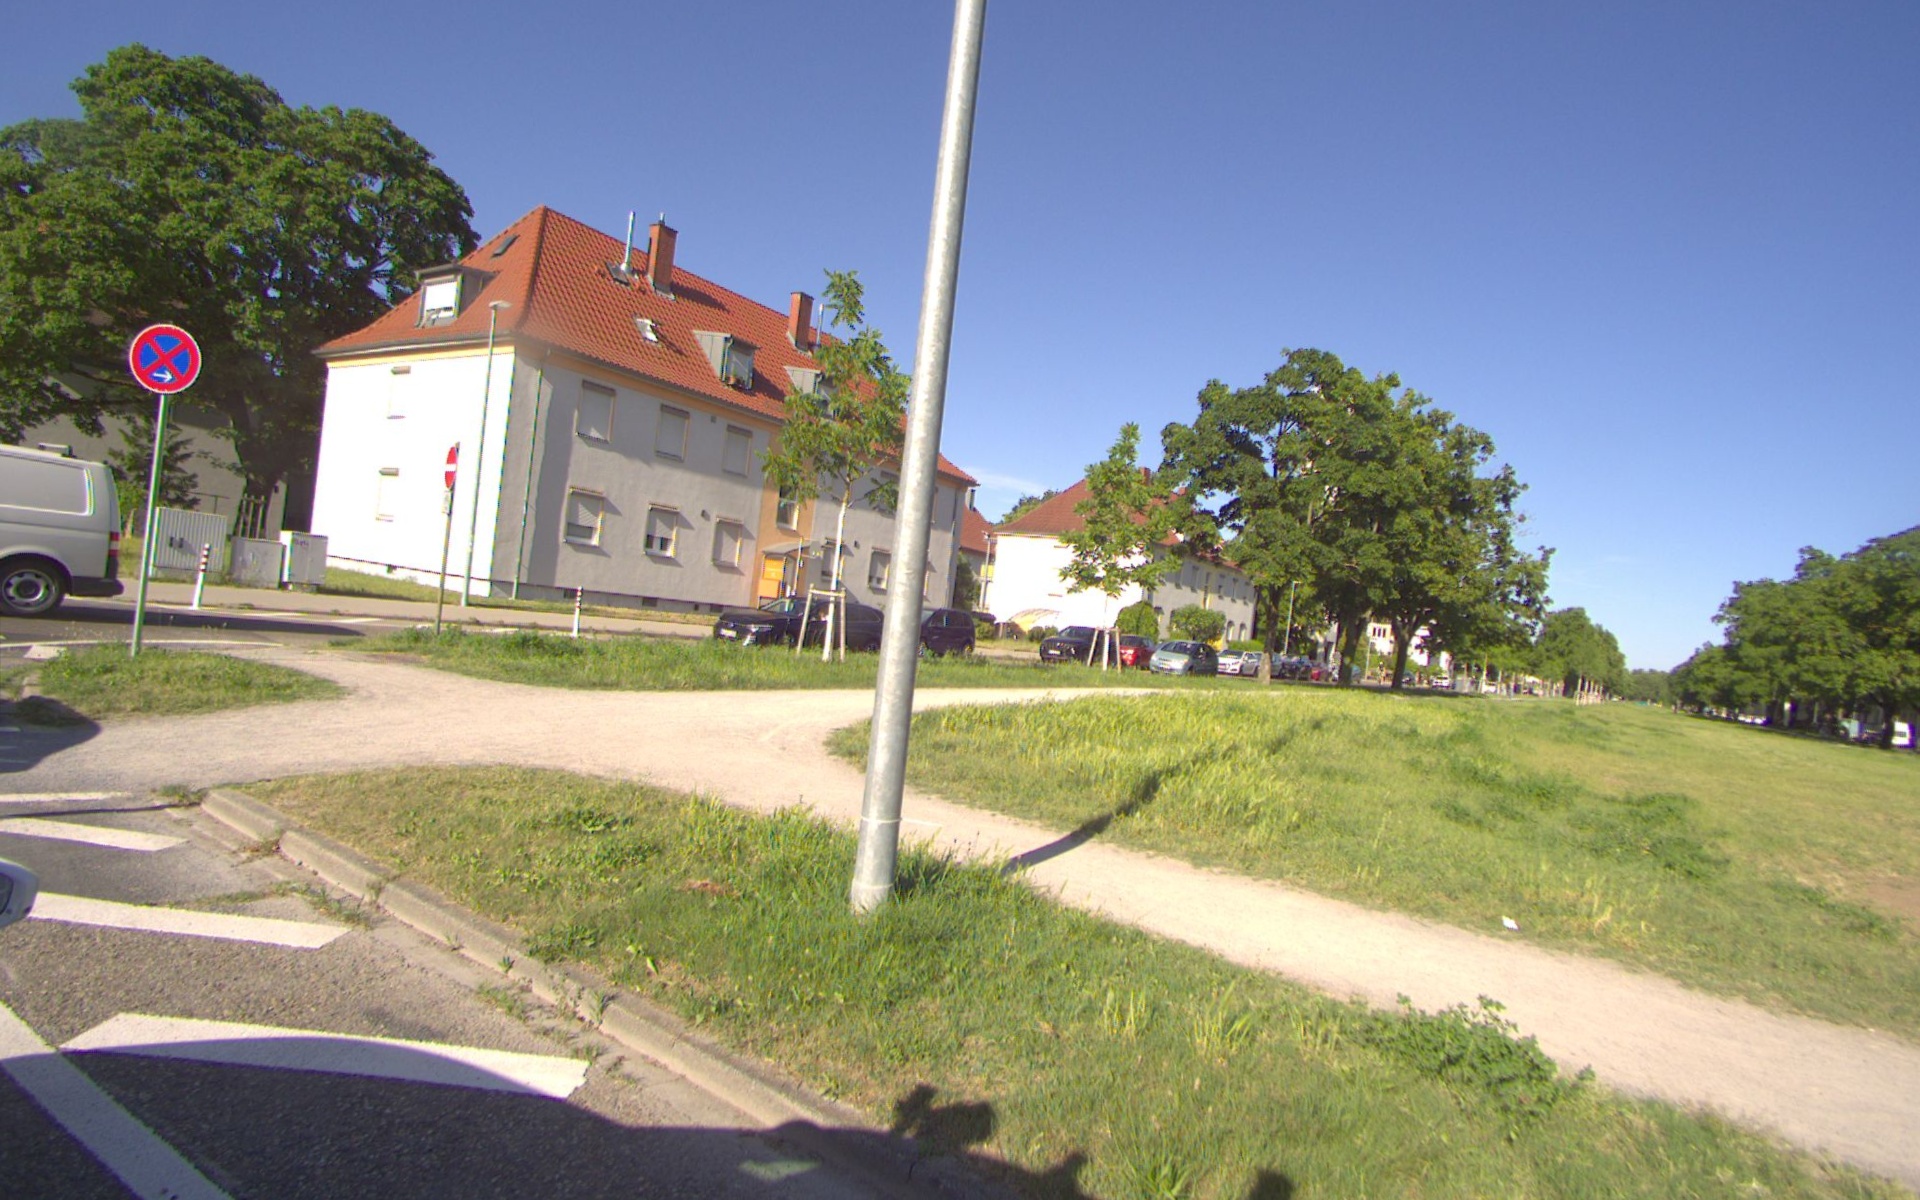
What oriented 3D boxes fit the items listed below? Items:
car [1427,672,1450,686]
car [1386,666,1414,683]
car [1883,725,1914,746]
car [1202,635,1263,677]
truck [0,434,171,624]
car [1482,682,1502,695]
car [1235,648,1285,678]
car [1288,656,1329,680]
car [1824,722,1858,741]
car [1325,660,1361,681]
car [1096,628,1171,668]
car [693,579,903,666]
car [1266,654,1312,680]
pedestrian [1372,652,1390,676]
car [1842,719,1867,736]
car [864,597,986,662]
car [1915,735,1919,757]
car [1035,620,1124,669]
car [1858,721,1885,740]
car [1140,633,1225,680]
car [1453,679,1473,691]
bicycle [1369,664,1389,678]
[{"bbox_3d":[56.119,9.260,118.037,1.694,1.358,3.798,7,0,35],"label":"car"},{"bbox_3d":[43.436,7.386,99.259,1.694,1.358,3.798,7,0,35],"label":"car"},{"bbox_3d":[103.186,14.865,110.631,1.837,1.868,3.982,8,0,36],"label":"car"},{"bbox_3d":[15.613,3.220,57.514,1.842,2.038,4.244,7,0,35],"label":"car"},{"bbox_3d":[-12.189,-1.013,11.208,1.968,2.061,4.861,7,0,34],"label":"truck"},{"bbox_3d":[67.001,11.155,126.652,1.694,1.358,3.798,7,0,35],"label":"car"},{"bbox_3d":[18.335,3.888,61.479,1.694,1.517,3.798,7,0,35],"label":"car"},{"bbox_3d":[24.736,4.841,71.401,1.694,1.358,3.798,7,0,35],"label":"car"},{"bbox_3d":[92.707,13.802,105.926,2.049,1.484,4.713,7,0,36],"label":"car"},{"bbox_3d":[30.671,5.653,80.576,1.694,1.358,3.798,7,0,35],"label":"car"},{"bbox_3d":[7.985,2.234,45.986,1.694,1.459,4.129,7,0,35],"label":"car"},{"bbox_3d":[-3.640,0.583,23.510,1.969,1.543,4.741,7,0,36],"label":"car"},{"bbox_3d":[21.684,4.423,66.250,1.694,1.358,3.798,7,0,35],"label":"car"},{"bbox_3d":[33.409,5.071,79.900,1.036,1.730,0.692,7,1,30],"label":"pedestrian"},{"bbox_3d":[118.934,16.976,133.830,1.837,1.868,3.982,7,0,36],"label":"car"},{"bbox_3d":[-1.064,0.974,32.399,1.694,1.684,4.053,7,0,35],"label":"car"},{"bbox_3d":[67.313,10.200,68.838,2.049,1.484,4.713,7,0,36],"label":"car"},{"bbox_3d":[4.942,1.844,41.170,1.694,1.602,4.129,7,0,35],"label":"car"},{"bbox_3d":[110.273,15.813,121.735,1.837,1.868,3.982,7,0,36],"label":"car"},{"bbox_3d":[9.352,2.395,42.113,1.859,1.628,4.235,7,0,35],"label":"car"},{"bbox_3d":[65.431,11.035,130.720,1.694,1.358,3.798,7,0,35],"label":"car"},{"bbox_3d":[33.259,5.654,79.768,1.036,0.949,2.759,7,0,30],"label":"bicycle"}]
